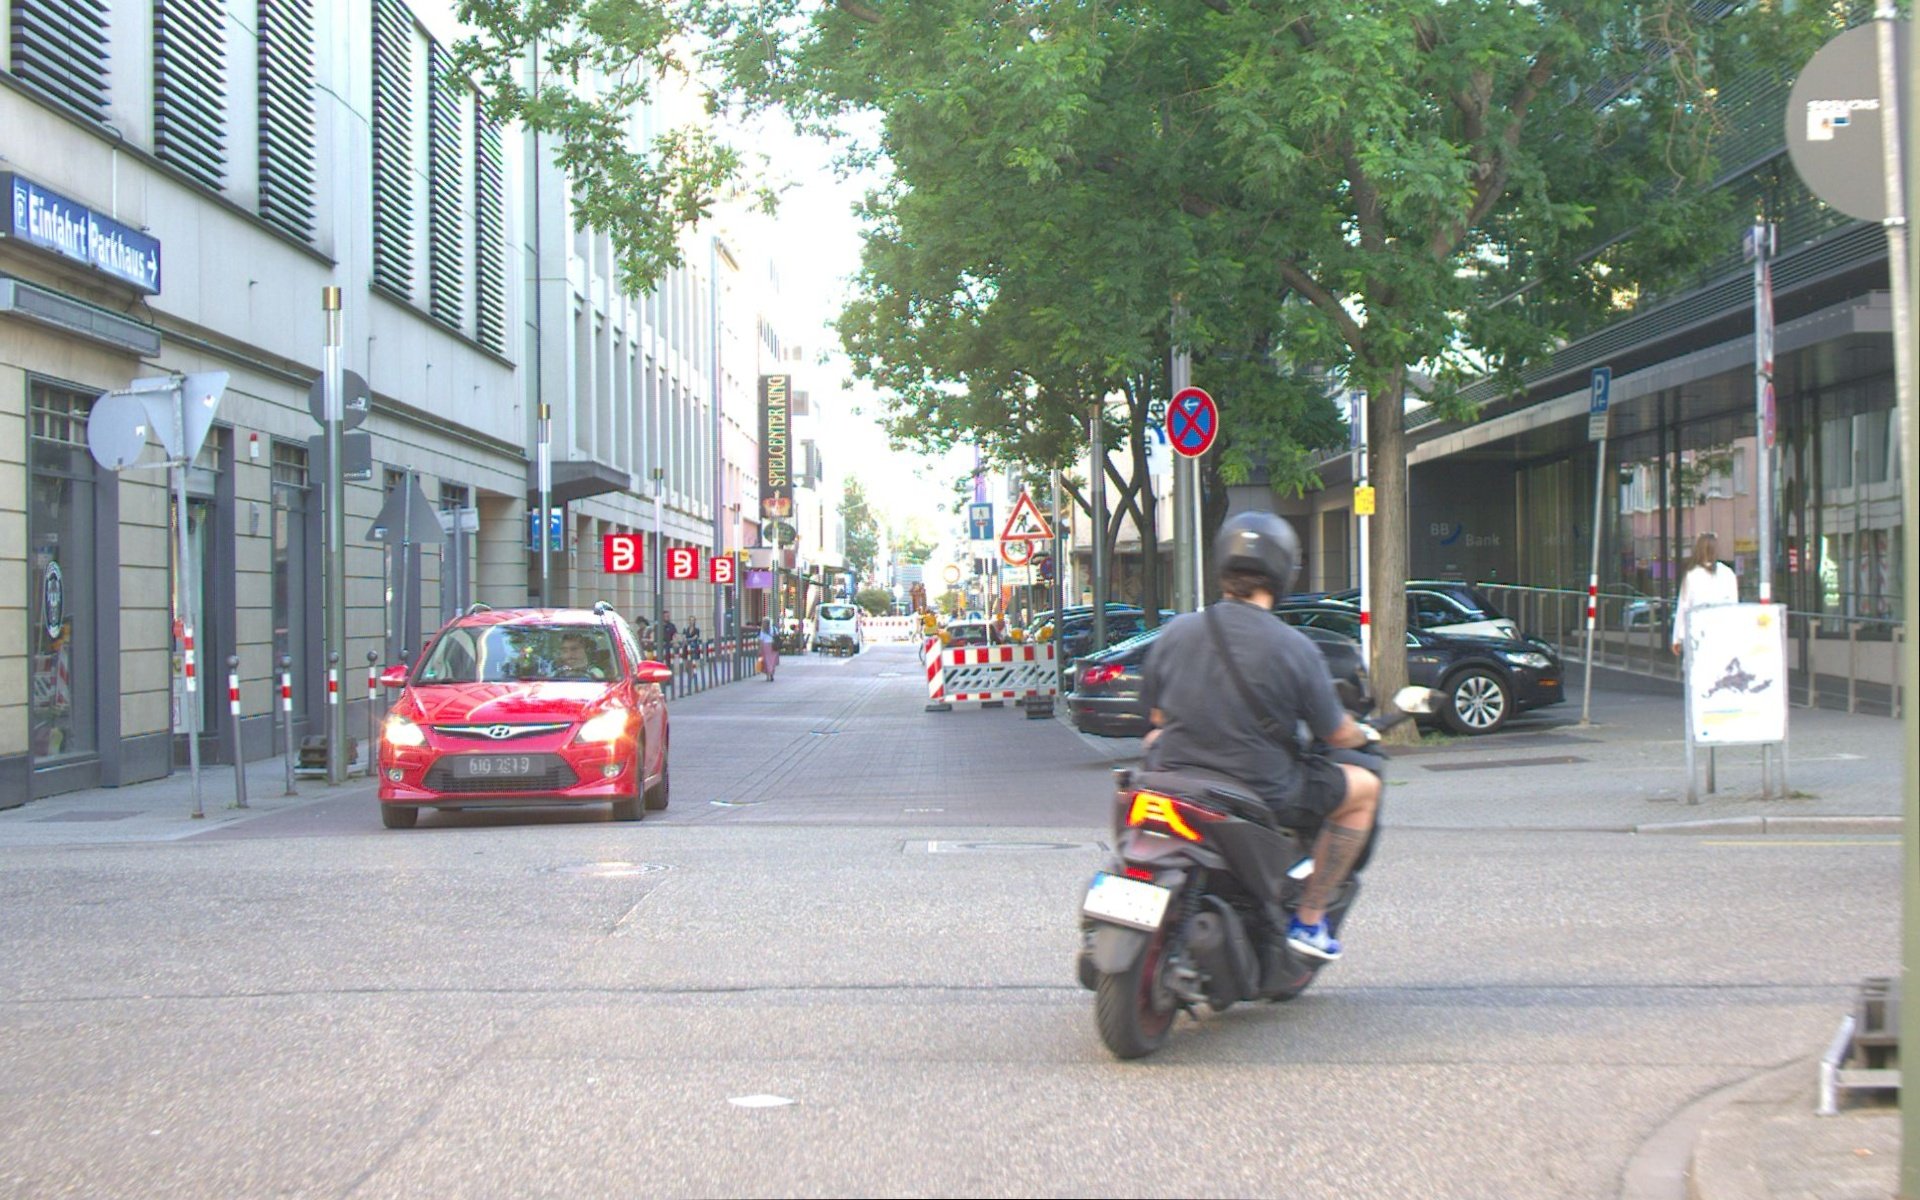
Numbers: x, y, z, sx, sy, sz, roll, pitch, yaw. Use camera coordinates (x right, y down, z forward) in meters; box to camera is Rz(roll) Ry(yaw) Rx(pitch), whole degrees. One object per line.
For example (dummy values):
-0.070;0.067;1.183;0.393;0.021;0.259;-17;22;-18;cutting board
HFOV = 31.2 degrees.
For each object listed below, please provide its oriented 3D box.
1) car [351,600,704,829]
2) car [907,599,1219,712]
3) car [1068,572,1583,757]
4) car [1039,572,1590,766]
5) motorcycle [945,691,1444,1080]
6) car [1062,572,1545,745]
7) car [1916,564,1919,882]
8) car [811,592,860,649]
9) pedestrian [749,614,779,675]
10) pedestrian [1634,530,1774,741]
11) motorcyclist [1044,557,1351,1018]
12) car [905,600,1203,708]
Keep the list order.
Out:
-2.960;0.803;24.373;1.822;1.460;4.263;-1;-2;2;car
1.686;0.925;57.653;5.004;1.494;2.000;-4;-1;-2;car
3.742;0.659;35.833;5.004;1.494;2.000;-4;-1;-2;car
3.371;0.659;33.430;5.004;1.447;2.000;-4;-1;-2;car
0.795;0.861;11.052;0.874;1.105;1.836;0;-1;30;motorcycle
3.751;0.642;38.190;5.004;1.494;2.000;-4;-1;-2;car
6.938;0.570;16.408;4.248;1.536;1.829;-1;0;-17;car
-5.301;0.845;145.891;1.993;2.321;5.021;1;0;-2;car
-5.001;1.136;87.729;0.732;1.569;0.636;0;-1;1;pedestrian
6.273;0.302;29.035;0.905;1.700;0.834;-4;-1;1;pedestrian
0.759;0.582;11.010;0.868;1.422;0.455;0;-1;30;motorcyclist
1.605;0.940;60.185;5.004;1.494;2.000;-4;-1;-2;car
